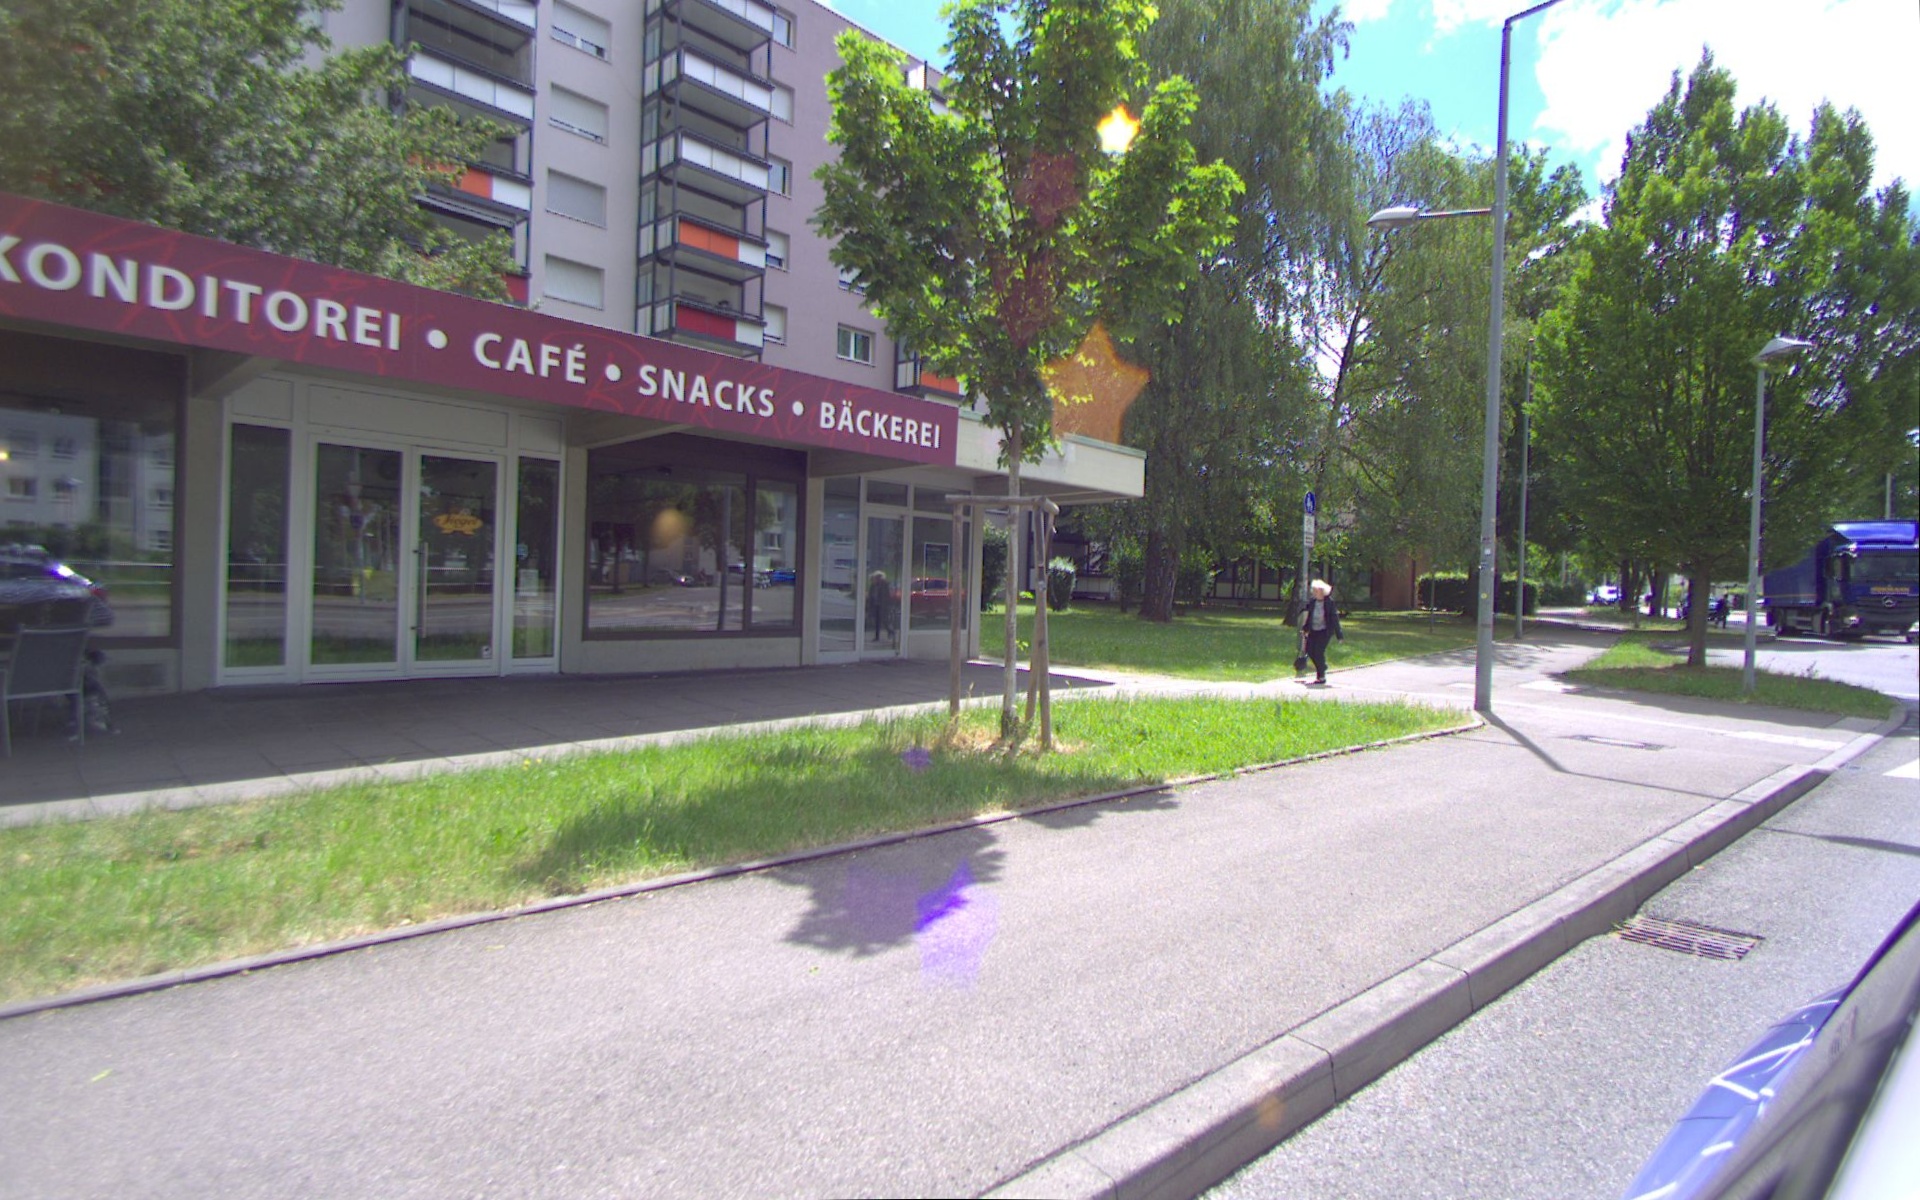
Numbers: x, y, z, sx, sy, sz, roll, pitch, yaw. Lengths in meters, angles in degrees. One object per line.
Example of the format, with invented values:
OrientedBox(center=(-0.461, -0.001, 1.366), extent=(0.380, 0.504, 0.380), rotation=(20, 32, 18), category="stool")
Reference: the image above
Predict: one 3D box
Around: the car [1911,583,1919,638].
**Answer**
OrientedBox(center=(29.148, 0.360, 28.032), extent=(3.757, 1.542, 1.760), rotation=(1, 1, 5), category="car")

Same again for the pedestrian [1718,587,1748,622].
OrientedBox(center=(32.372, 0.183, 42.385), extent=(0.904, 1.442, 0.692), rotation=(0, 1, -34), category="pedestrian")

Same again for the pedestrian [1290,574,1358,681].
OrientedBox(center=(5.519, 0.394, 15.360), extent=(0.643, 1.557, 0.725), rotation=(0, 2, -41), category="pedestrian")

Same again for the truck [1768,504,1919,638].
OrientedBox(center=(31.631, -1.000, 35.919), extent=(2.606, 4.144, 9.520), rotation=(2, 2, 27), category="truck")

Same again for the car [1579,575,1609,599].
OrientedBox(center=(57.930, -1.196, 92.501), extent=(1.981, 2.038, 3.962), rotation=(2, 2, 28), category="car")

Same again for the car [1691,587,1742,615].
OrientedBox(center=(40.774, 0.011, 54.636), extent=(1.795, 1.371, 3.955), rotation=(2, 2, 32), category="car")
